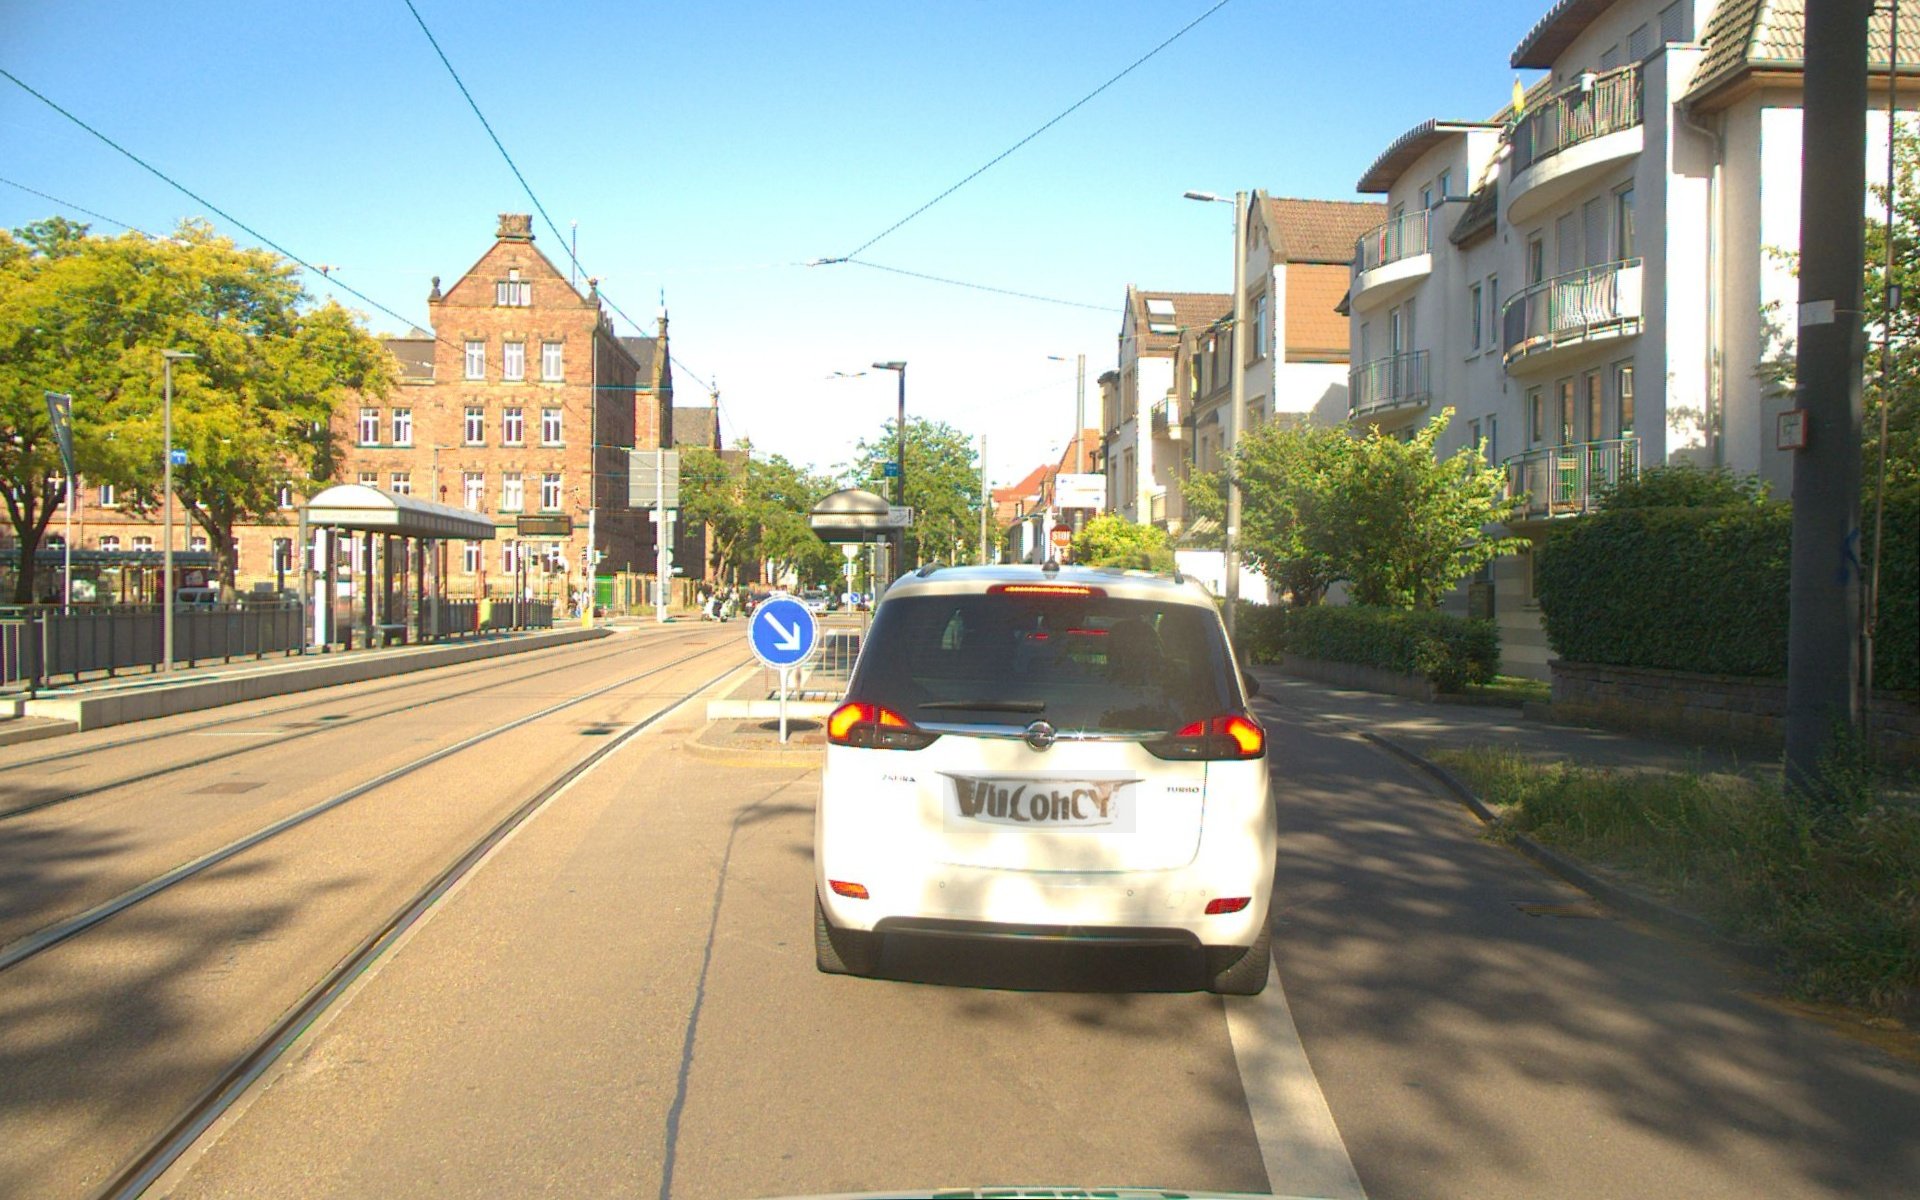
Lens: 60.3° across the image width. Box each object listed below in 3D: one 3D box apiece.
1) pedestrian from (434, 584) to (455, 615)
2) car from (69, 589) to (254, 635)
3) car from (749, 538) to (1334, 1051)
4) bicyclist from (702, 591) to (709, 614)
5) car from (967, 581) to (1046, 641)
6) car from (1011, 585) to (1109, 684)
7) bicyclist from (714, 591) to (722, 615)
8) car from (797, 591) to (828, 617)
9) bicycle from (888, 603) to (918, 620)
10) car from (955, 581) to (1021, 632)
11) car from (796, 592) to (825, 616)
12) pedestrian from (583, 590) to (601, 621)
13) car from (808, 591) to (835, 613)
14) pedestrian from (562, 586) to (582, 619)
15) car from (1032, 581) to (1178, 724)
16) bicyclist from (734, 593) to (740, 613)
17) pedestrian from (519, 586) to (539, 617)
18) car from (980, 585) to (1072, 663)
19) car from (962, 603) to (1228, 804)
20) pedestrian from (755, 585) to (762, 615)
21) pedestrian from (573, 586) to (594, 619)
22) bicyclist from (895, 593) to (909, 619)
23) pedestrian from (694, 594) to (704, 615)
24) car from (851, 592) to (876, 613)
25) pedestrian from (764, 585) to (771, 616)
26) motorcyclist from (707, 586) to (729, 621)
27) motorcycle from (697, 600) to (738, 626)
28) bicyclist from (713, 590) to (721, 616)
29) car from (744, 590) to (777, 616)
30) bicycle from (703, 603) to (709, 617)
[{"bbox_3d":[-27.436,-0.010,88.052,0.914,1.616,0.804,1,-1,-6],"label":"pedestrian"},{"bbox_3d":[-35.723,0.528,74.186,6.810,1.954,2.991,0,0,-2],"label":"car"},{"bbox_3d":[0.456,0.650,7.591,1.951,1.673,3.996,1,0,6],"label":"car"},{"bbox_3d":[-17.644,0.189,114.817,0.435,1.580,0.495,0,0,-4],"label":"bicyclist"},{"bbox_3d":[1.201,0.263,44.306,1.953,1.529,3.999,0,0,-1],"label":"car"},{"bbox_3d":[1.714,0.555,29.265,1.603,1.629,3.855,0,0,1],"label":"car"},{"bbox_3d":[-15.570,0.190,106.318,0.435,1.580,0.495,0,0,-4],"label":"bicyclist"},{"bbox_3d":[-9.542,0.252,107.154,1.955,1.657,3.996,0,0,-5],"label":"car"},{"bbox_3d":[-3.223,0.652,92.974,1.635,0.969,0.529,0,0,5],"label":"bicycle"},{"bbox_3d":[0.831,0.197,51.762,1.953,1.529,3.999,0,0,-1],"label":"car"},{"bbox_3d":[-10.346,0.268,114.248,1.955,1.657,3.996,0,0,-5],"label":"car"},{"bbox_3d":[-21.173,0.324,95.237,0.719,1.744,0.706,1,-1,22],"label":"pedestrian"},{"bbox_3d":[-10.935,0.149,130.477,1.953,1.657,3.998,0,0,-3],"label":"car"},{"bbox_3d":[-20.669,0.138,88.087,0.825,1.721,1.029,1,0,-1],"label":"pedestrian"},{"bbox_3d":[1.741,0.589,20.837,1.603,1.629,3.855,0,0,1],"label":"car"},{"bbox_3d":[-15.065,0.205,111.584,0.352,1.326,0.397,0,0,-4],"label":"bicyclist"},{"bbox_3d":[-22.764,0.070,87.405,0.786,1.616,0.934,1,0,-3],"label":"pedestrian"},{"bbox_3d":[1.380,0.497,36.185,1.793,1.607,4.009,0,0,-1],"label":"car"},{"bbox_3d":[1.031,0.751,13.978,1.912,1.422,4.001,0,0,1],"label":"car"},{"bbox_3d":[-13.642,0.012,111.722,0.435,2.049,0.495,0,0,-4],"label":"pedestrian"},{"bbox_3d":[-19.730,0.142,86.713,0.877,1.713,1.029,1,0,-1],"label":"pedestrian"},{"bbox_3d":[-3.257,0.343,92.982,0.742,1.455,0.516,1,-1,5],"label":"bicyclist"},{"bbox_3d":[-21.413,0.350,135.695,0.720,1.744,0.753,1,-1,-6],"label":"pedestrian"},{"bbox_3d":[-7.863,0.222,134.128,1.954,1.657,3.997,0,0,-4],"label":"car"},{"bbox_3d":[-13.043,0.024,112.047,0.435,2.049,0.495,0,0,-4],"label":"pedestrian"},{"bbox_3d":[-11.371,0.170,77.703,0.603,1.650,0.841,0,0,38],"label":"motorcyclist"},{"bbox_3d":[-11.375,0.616,77.709,0.602,1.219,2.066,0,0,38],"label":"motorcycle"},{"bbox_3d":[-15.149,0.182,103.042,0.435,1.580,0.742,0,0,-4],"label":"bicyclist"},{"bbox_3d":[-12.852,0.201,106.881,1.955,1.657,3.996,0,0,-5],"label":"car"},{"bbox_3d":[-17.650,0.665,114.853,0.337,0.966,0.996,1,0,-4],"label":"bicycle"}]
